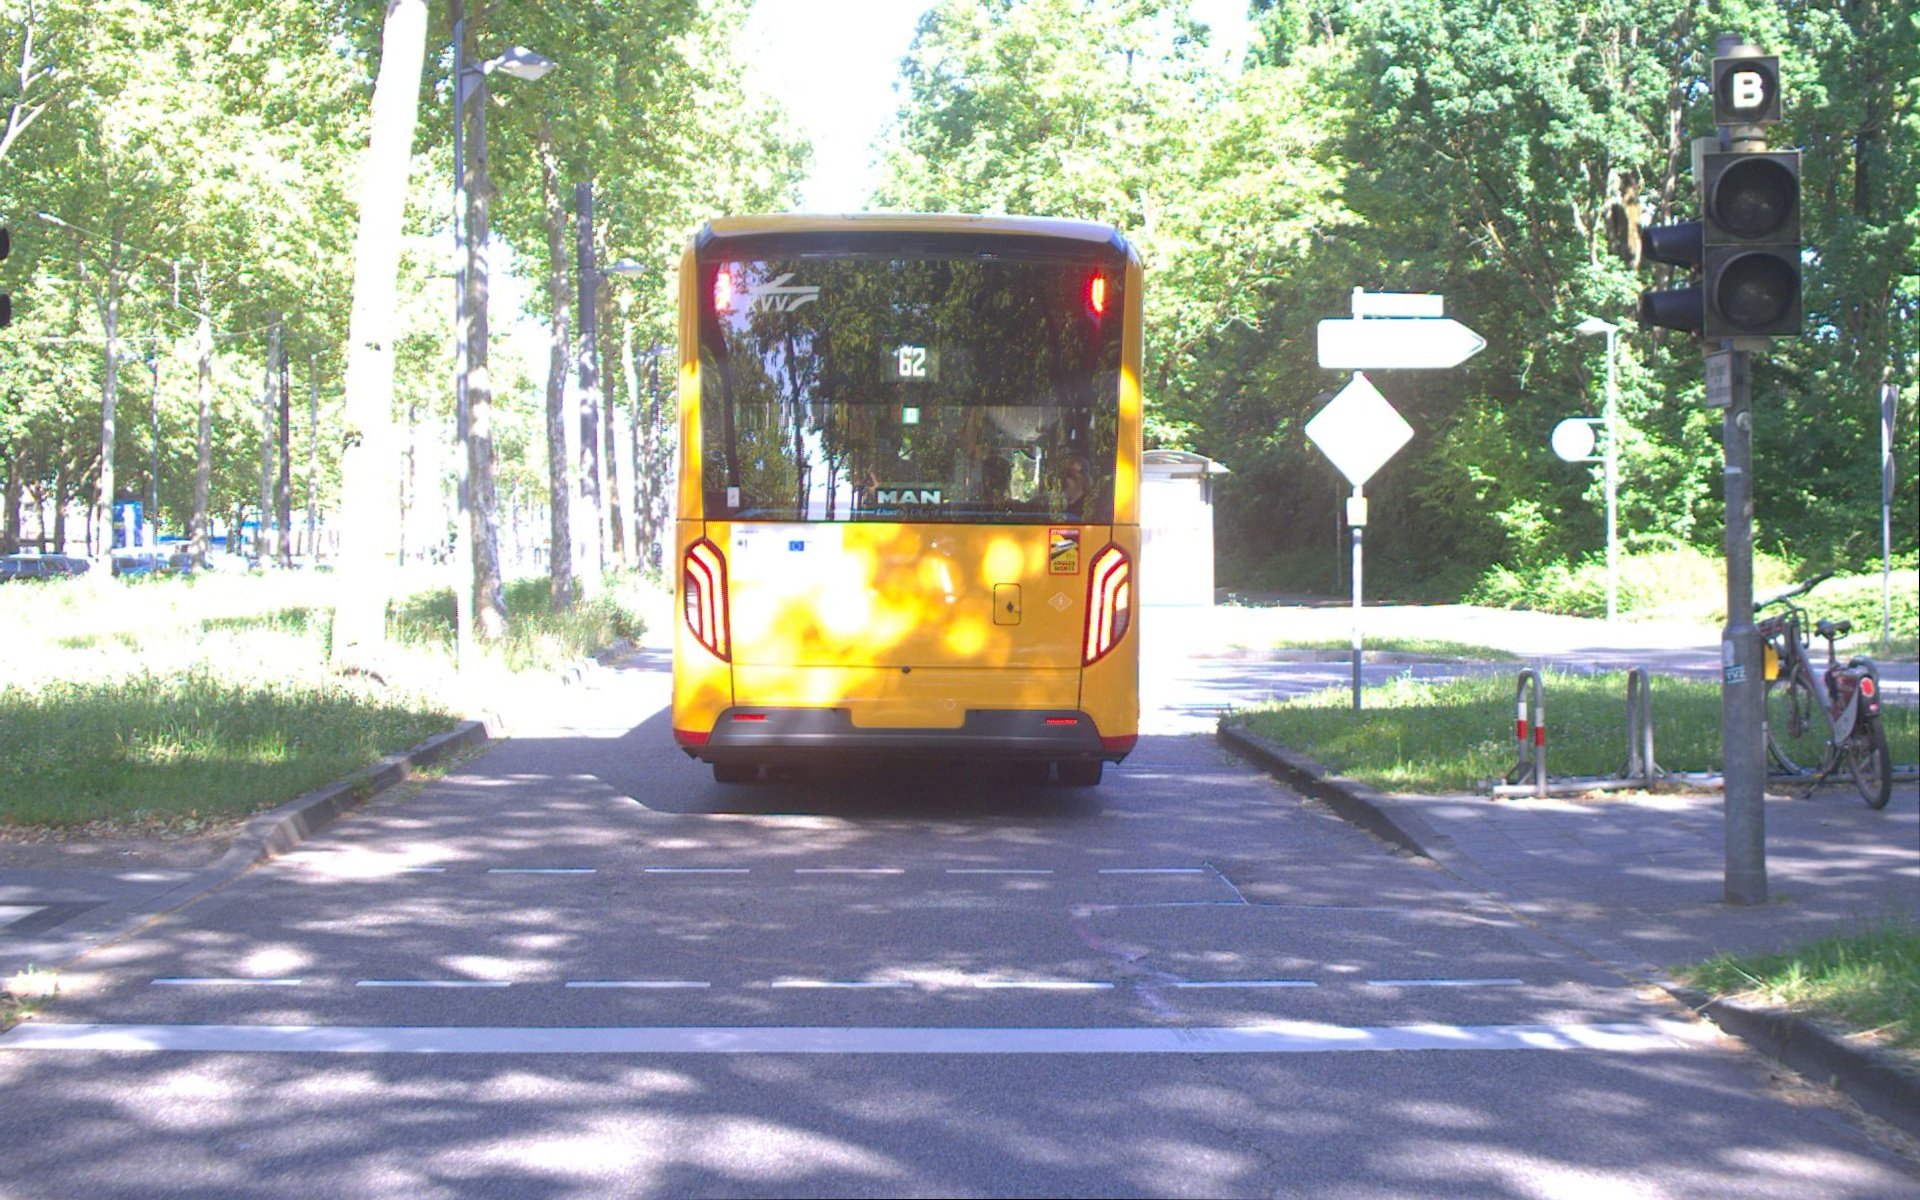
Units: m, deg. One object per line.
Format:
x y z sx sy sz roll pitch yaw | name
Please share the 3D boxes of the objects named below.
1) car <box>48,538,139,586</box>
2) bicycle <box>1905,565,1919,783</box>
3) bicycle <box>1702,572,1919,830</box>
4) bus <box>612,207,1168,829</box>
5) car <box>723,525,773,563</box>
-28.300 -1.256 112.392 1.794 1.505 4.000 0 1 2 | car
5.479 0.411 17.743 0.590 1.178 1.800 -4 2 -2 | bicycle
4.355 0.485 17.623 0.590 1.178 1.800 -4 2 -2 | bicycle
-0.569 -0.539 24.208 2.899 3.255 12.219 0 1 -2 | bus
-9.910 -2.649 160.973 1.986 1.637 4.134 2 2 0 | car
